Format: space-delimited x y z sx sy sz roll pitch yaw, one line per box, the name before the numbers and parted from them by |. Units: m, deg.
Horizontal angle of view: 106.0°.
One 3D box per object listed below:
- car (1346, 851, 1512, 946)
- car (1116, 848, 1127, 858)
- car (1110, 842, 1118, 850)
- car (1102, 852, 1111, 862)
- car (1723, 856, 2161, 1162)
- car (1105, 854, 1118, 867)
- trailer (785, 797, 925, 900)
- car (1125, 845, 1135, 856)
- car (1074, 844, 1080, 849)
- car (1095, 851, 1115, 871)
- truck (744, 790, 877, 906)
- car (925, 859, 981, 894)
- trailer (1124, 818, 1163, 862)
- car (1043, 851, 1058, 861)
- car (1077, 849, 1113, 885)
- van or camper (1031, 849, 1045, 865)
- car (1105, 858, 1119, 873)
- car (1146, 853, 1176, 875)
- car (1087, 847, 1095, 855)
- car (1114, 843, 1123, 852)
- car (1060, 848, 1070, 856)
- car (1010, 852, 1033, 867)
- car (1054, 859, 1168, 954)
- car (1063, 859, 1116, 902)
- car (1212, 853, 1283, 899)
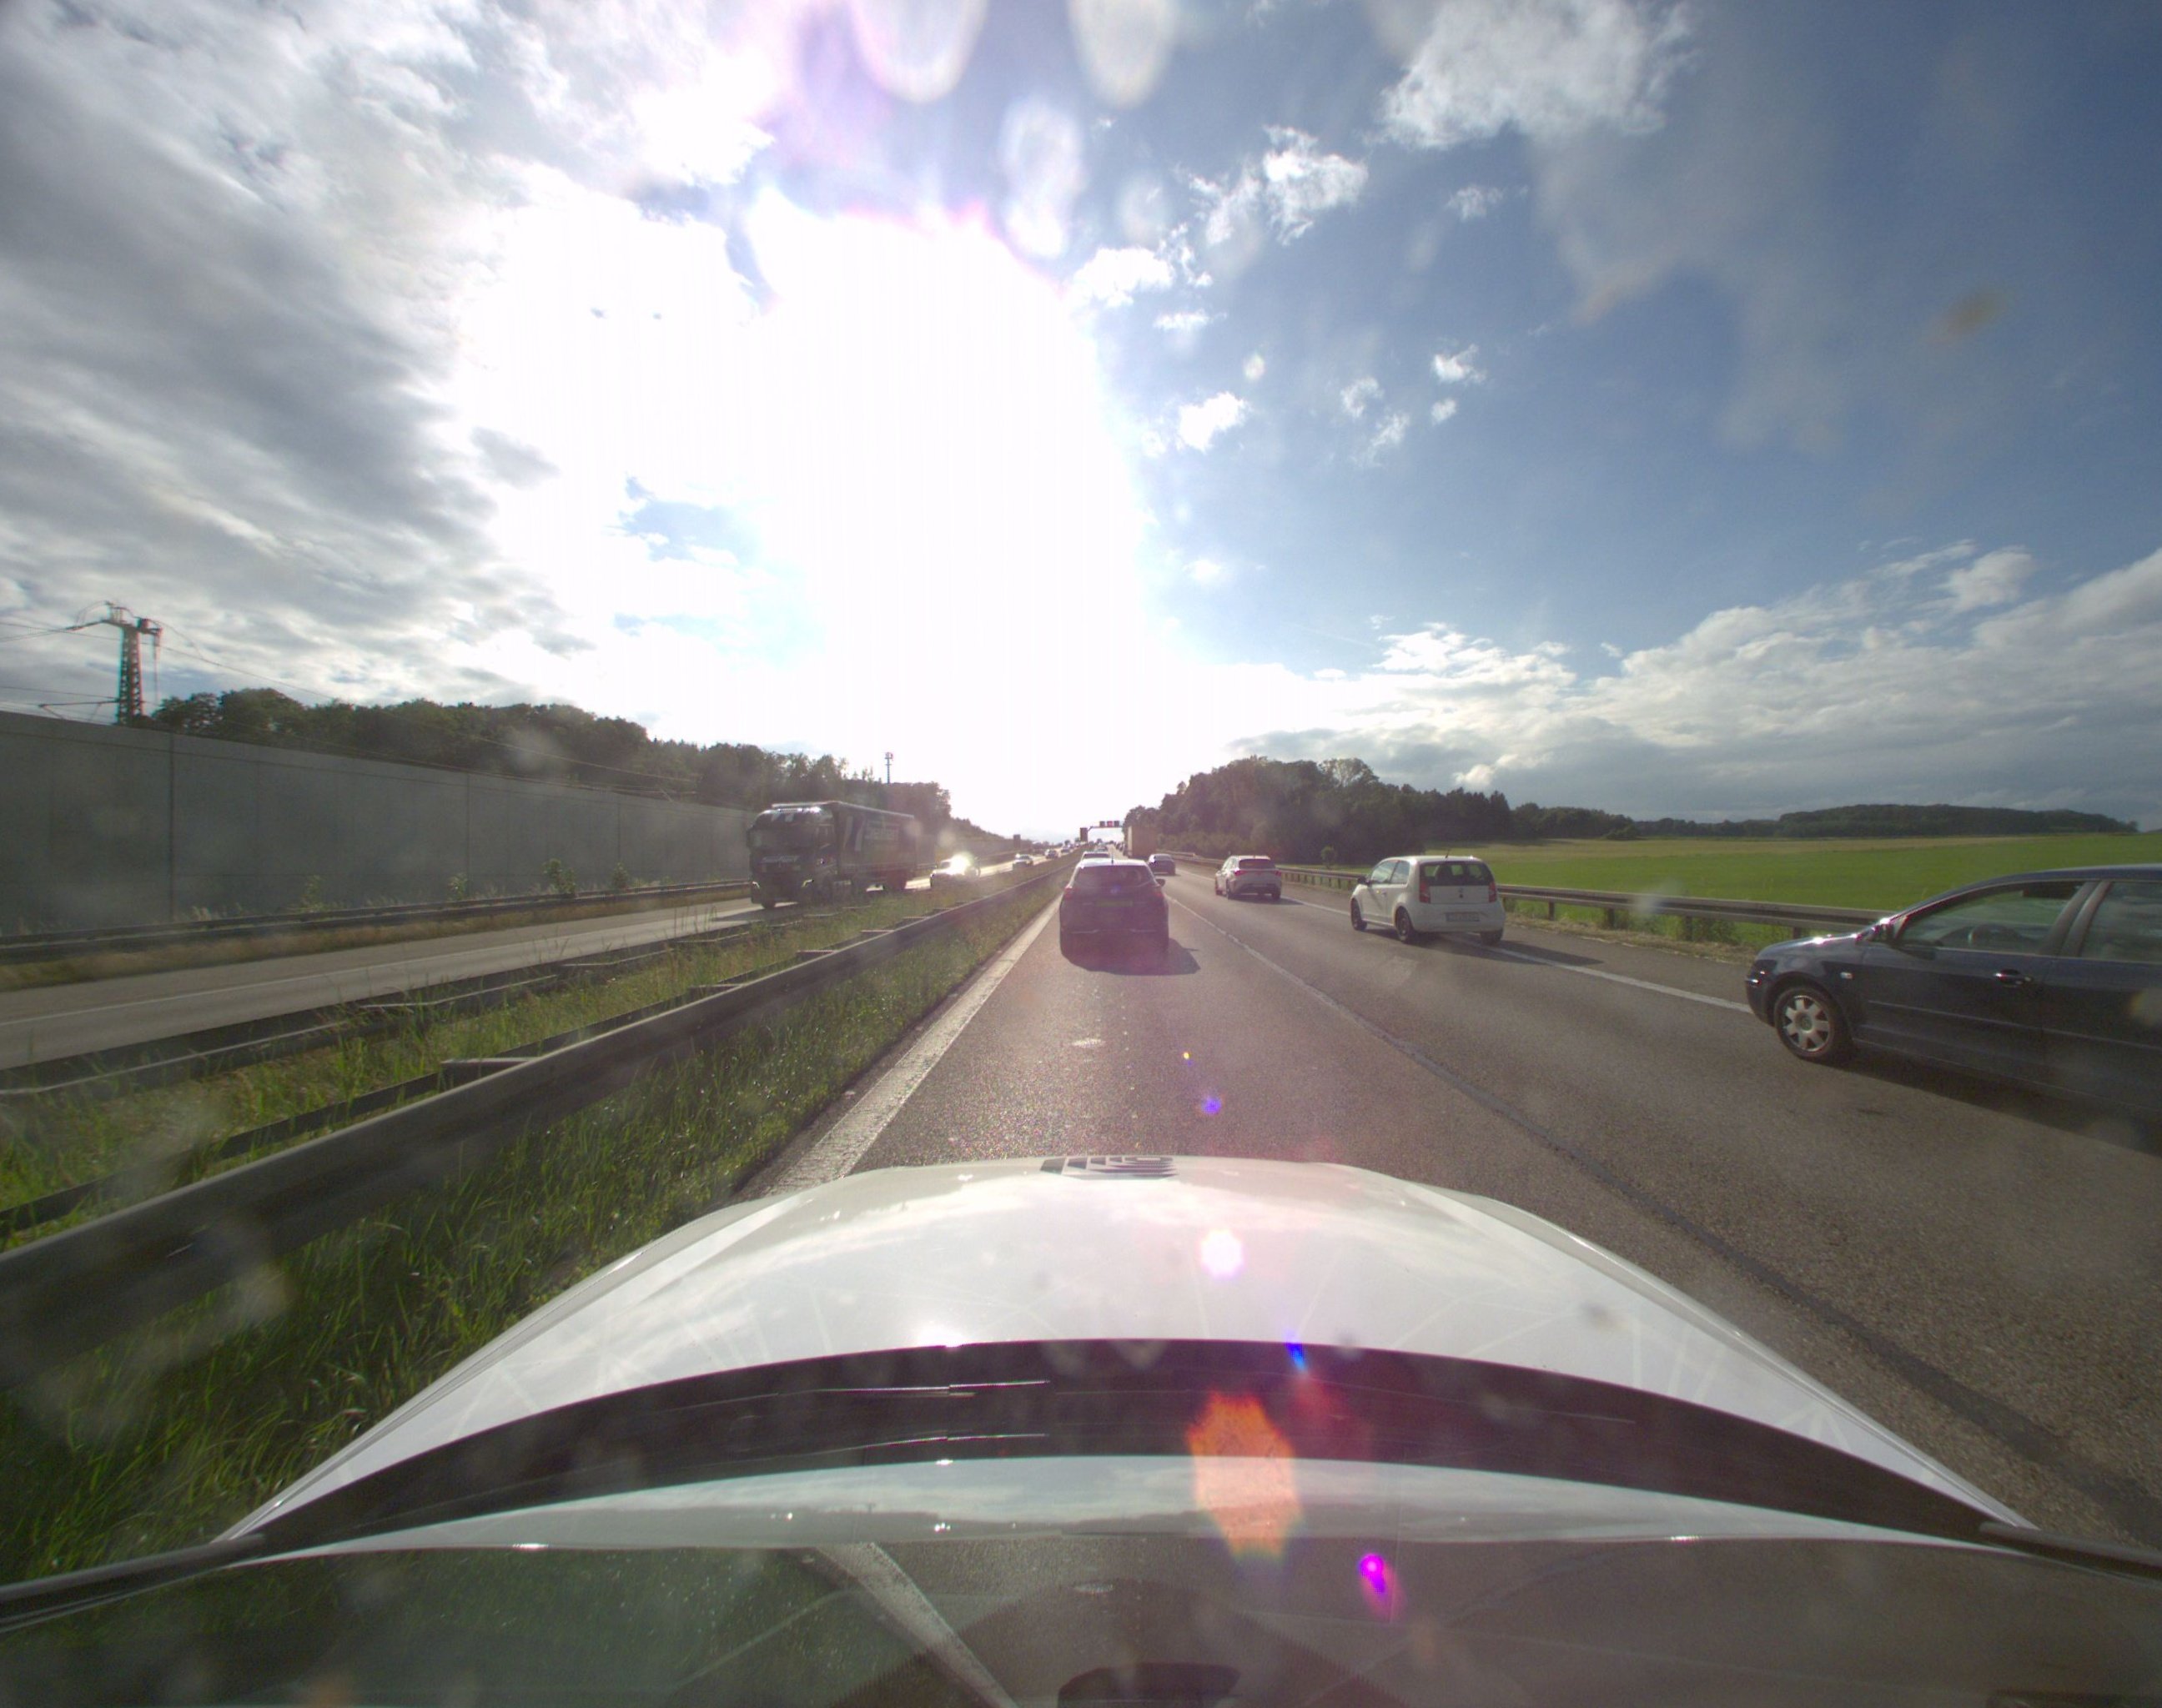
car | 6.081 0.705 14.637 1.544 1.495 3.377 -1 0 0
car | 8.419 -0.148 169.846 1.987 2.014 4.000 0 -1 1
car | 9.454 -2.228 232.598 1.987 2.014 4.000 0 -1 1
car | 4.690 0.510 148.499 1.660 1.755 3.329 -1 -1 3
car | 5.979 0.740 4.617 1.704 1.445 3.774 -1 -1 0
car | 4.604 1.026 123.761 1.987 2.014 4.000 0 -1 1
trailer | -10.420 -0.159 39.504 2.749 4.115 12.908 -1 -1 2
car | 8.284 -0.542 136.921 1.660 1.755 3.329 -1 -1 3
car | -1.242 -2.217 251.830 1.987 1.433 4.449 0 -1 1
car | 2.496 0.733 85.040 1.987 2.014 4.000 0 -1 1
truck | -10.581 -0.181 32.668 2.744 4.090 6.955 -1 -1 2
car | -6.397 1.105 41.247 1.881 1.632 5.112 0 -1 2
trailer | 6.715 -1.362 89.927 3.536 4.457 12.724 0 -1 1
car | -4.603 0.272 124.053 1.987 1.433 4.449 0 -1 1
car | 0.720 0.642 40.605 1.667 1.726 3.598 -1 -1 2
van or camper | -8.069 0.593 154.942 2.218 3.079 6.513 0 -1 1
car | 4.428 1.634 117.137 1.987 2.014 4.000 0 -1 1
car | 5.371 0.678 55.118 1.740 1.475 4.149 -1 -1 3
car | 2.648 -0.727 207.195 1.987 2.014 4.000 0 -1 1
car | 8.883 -1.448 191.132 1.987 2.014 4.000 0 -1 1
car | -3.480 -0.498 173.635 1.987 1.593 4.449 0 -1 1
car | -5.881 0.550 80.513 1.895 1.464 4.184 0 -1 1
car | 0.547 0.820 13.995 1.703 1.426 3.380 -1 -1 3
car | 0.355 0.871 27.817 1.667 1.367 3.598 -1 -1 2
car | 5.619 0.740 27.967 1.615 1.445 4.146 -1 -1 0
